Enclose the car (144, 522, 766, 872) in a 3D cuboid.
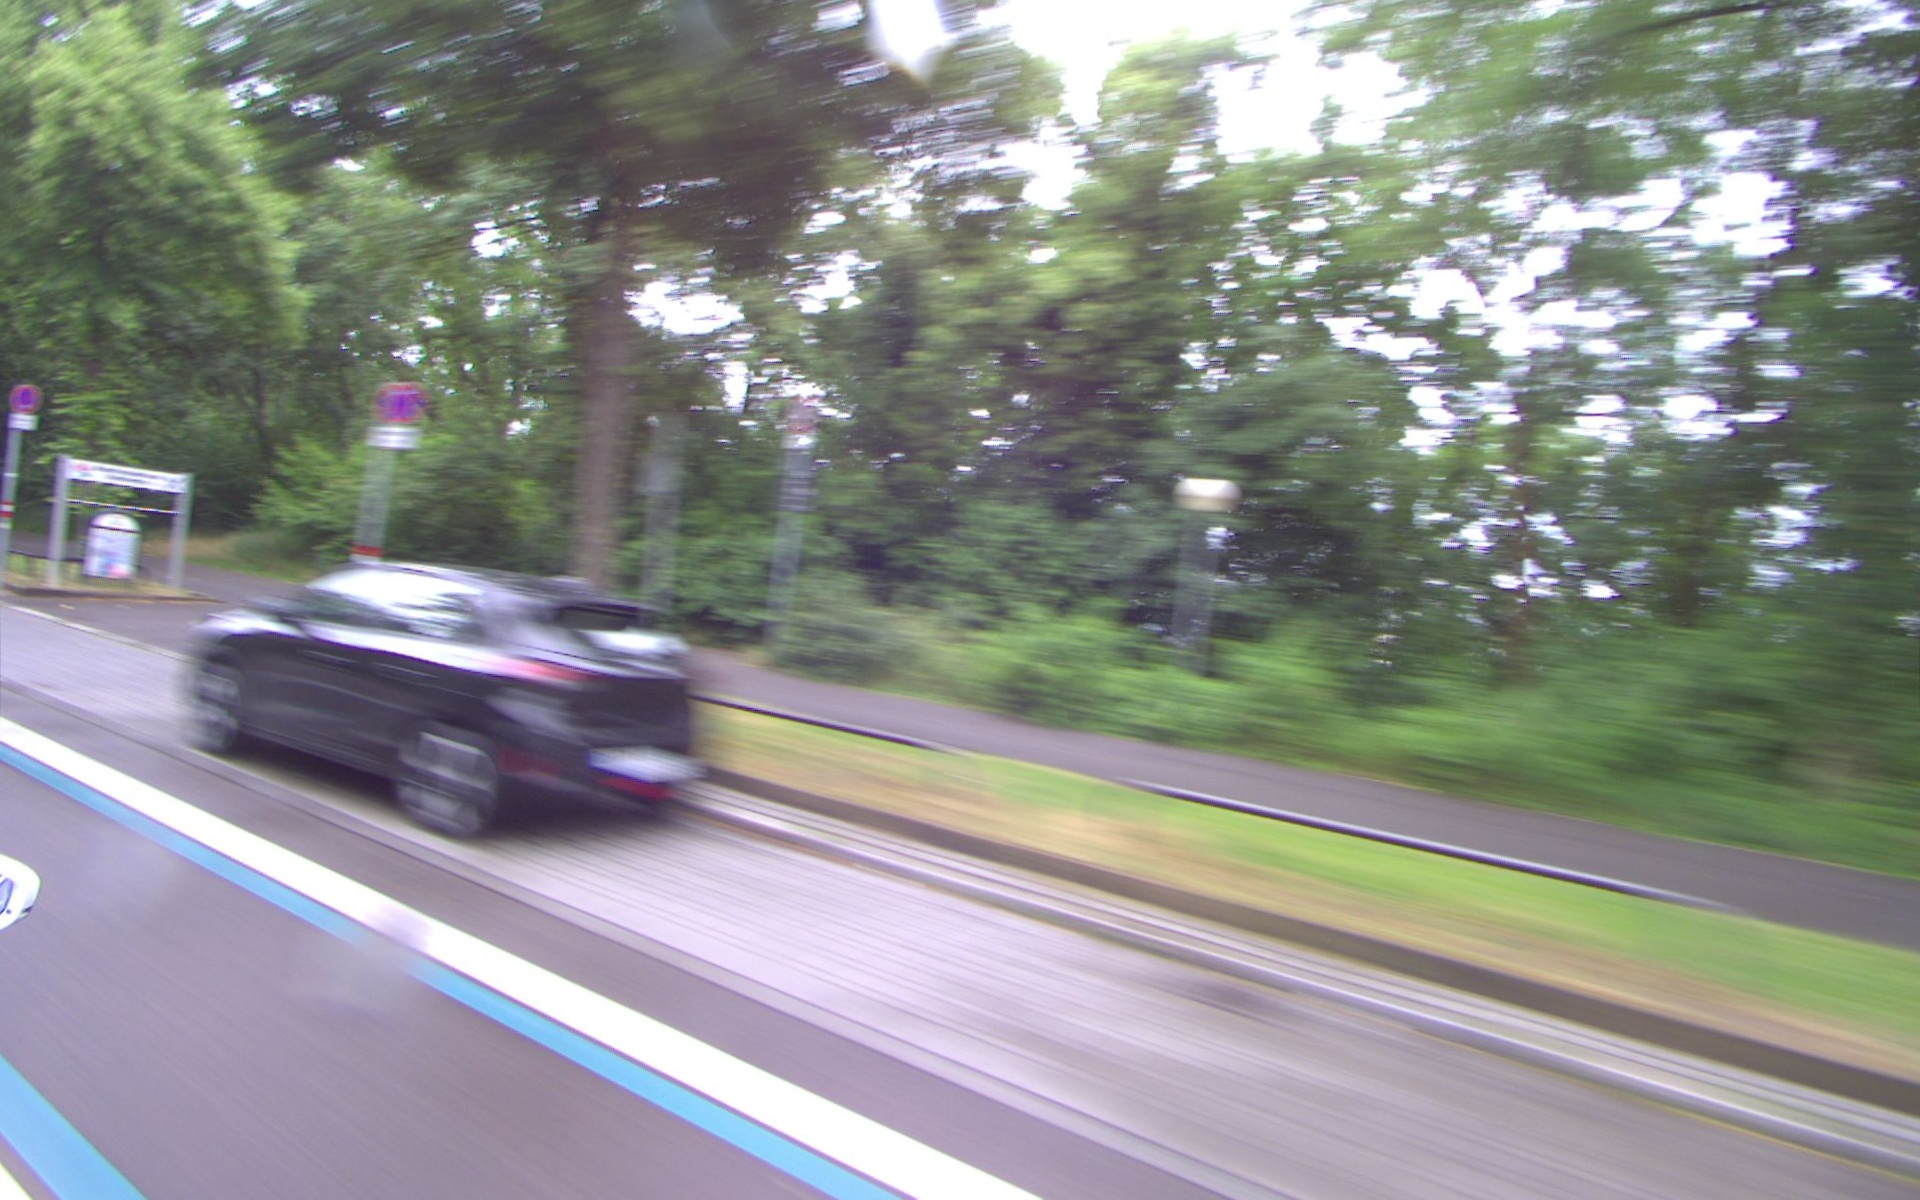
[{"bbox_3d":[-3.438,0.471,6.705,3.930,1.494,1.699,7,0,30],"label":"car"}]
